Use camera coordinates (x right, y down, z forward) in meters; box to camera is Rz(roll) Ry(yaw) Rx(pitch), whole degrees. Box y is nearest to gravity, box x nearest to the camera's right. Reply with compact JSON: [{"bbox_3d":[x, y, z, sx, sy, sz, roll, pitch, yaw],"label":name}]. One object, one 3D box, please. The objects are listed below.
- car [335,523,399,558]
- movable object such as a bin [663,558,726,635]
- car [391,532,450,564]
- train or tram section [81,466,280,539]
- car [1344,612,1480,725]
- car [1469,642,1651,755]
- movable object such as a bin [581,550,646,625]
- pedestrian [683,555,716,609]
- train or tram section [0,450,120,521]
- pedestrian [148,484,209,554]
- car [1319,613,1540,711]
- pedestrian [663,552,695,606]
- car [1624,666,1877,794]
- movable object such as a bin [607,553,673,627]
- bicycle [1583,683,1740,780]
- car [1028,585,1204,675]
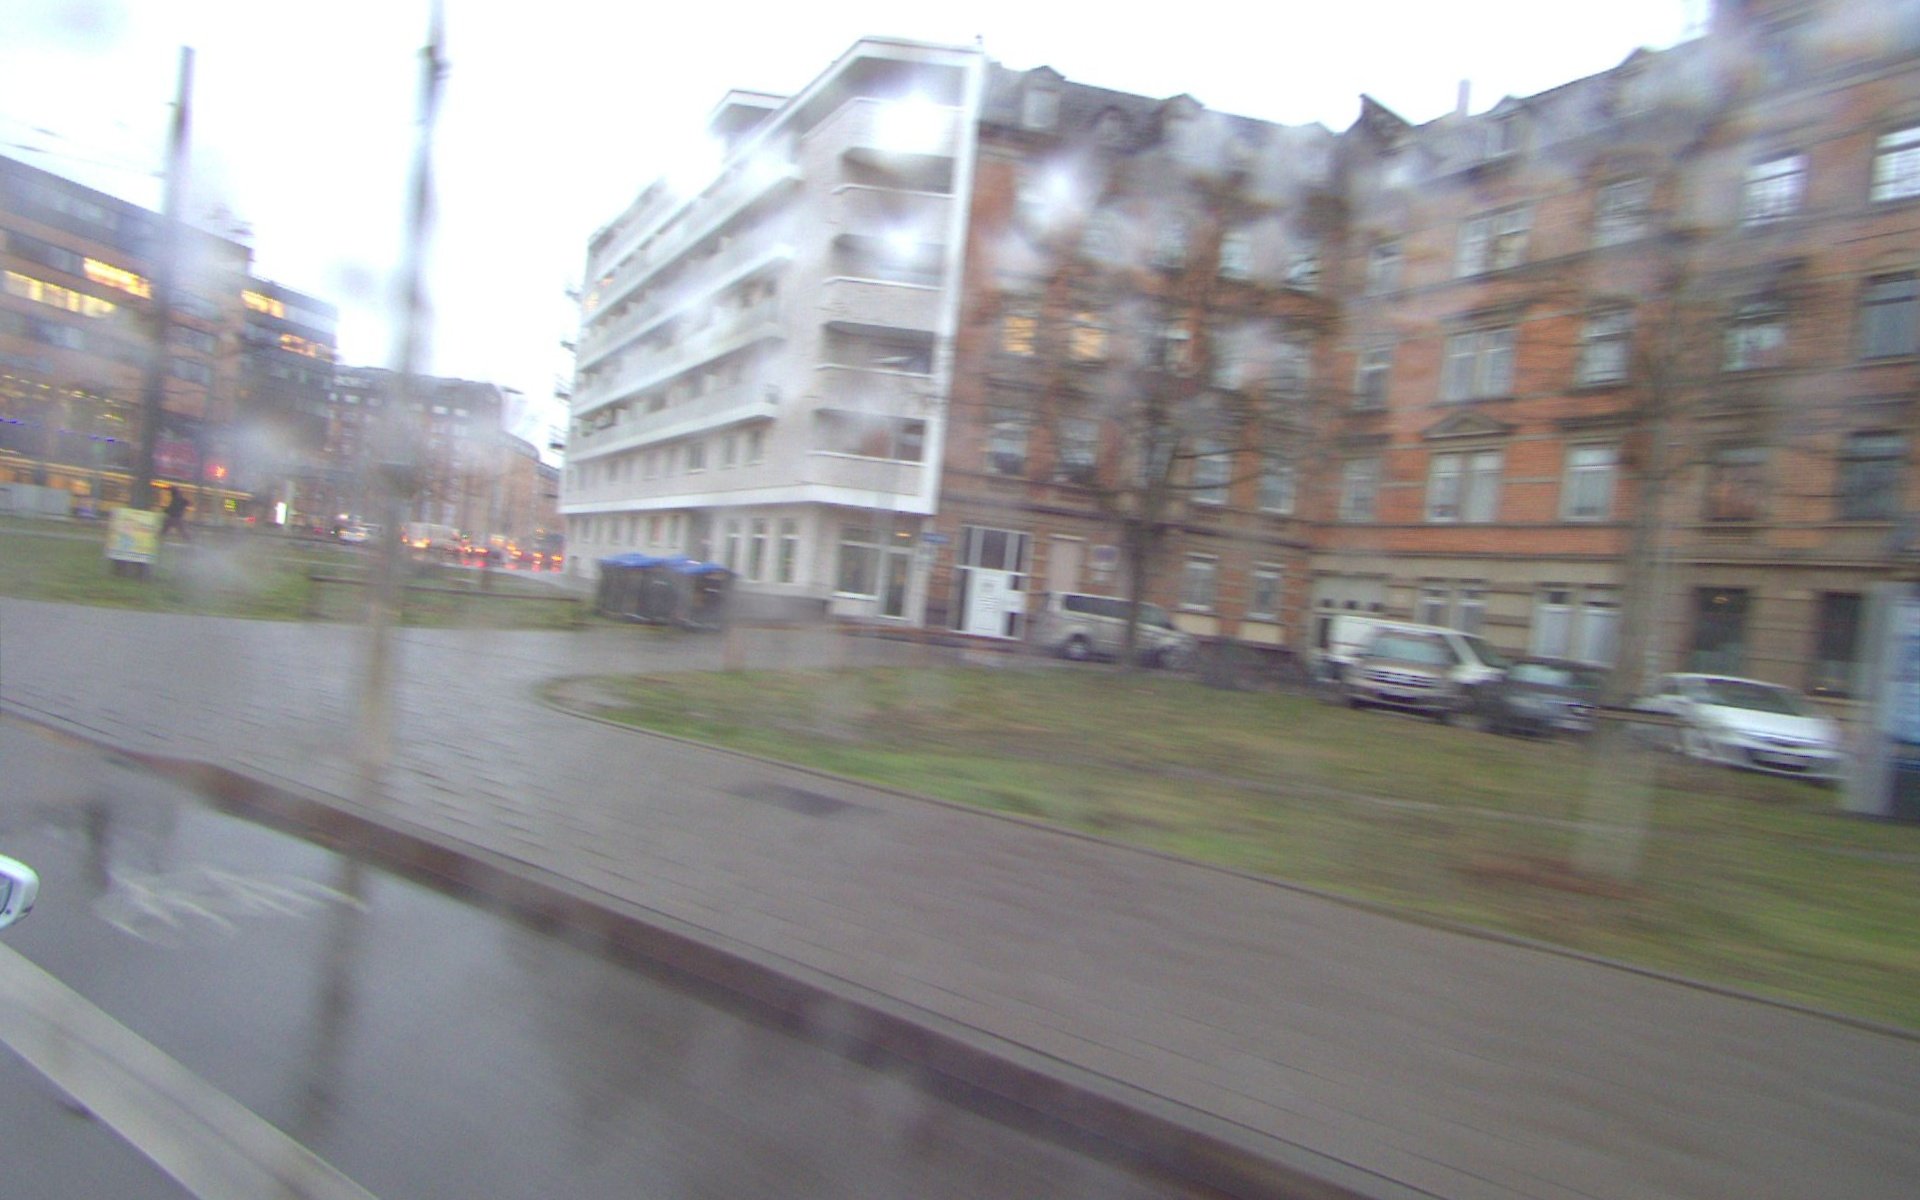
[{"bbox_3d":[-46.544,-4.627,79.020,1.962,2.036,4.006,7,-2,12],"label":"car"},{"bbox_3d":[-5.782,-0.071,21.882,1.024,1.507,1.036,8,-2,-22],"label":"movable object such as a bin"},{"bbox_3d":[-46.417,-4.448,86.682,1.962,2.036,4.955,8,-2,4],"label":"car"},{"bbox_3d":[-53.929,-6.589,70.381,2.292,3.300,13.005,7,0,7],"label":"train or tram section"},{"bbox_3d":[8.306,1.195,18.527,1.909,1.657,3.995,6,1,25],"label":"car"},{"bbox_3d":[9.516,1.518,16.269,1.646,1.370,3.746,8,-1,19],"label":"car"},{"bbox_3d":[-7.807,-0.300,22.658,1.019,1.514,1.318,6,2,-30],"label":"movable object such as a bin"},{"bbox_3d":[-9.017,-0.622,34.811,0.672,1.734,0.623,9,-2,-38],"label":"pedestrian"},{"bbox_3d":[-55.715,-6.986,55.877,2.292,3.300,16.666,7,0,7],"label":"train or tram section"},{"bbox_3d":[-24.106,-2.490,31.040,0.887,1.946,1.168,6,-2,45],"label":"pedestrian"},{"bbox_3d":[12.586,1.614,27.289,1.983,2.039,4.934,5,1,-38],"label":"car"},{"bbox_3d":[-9.589,-0.729,34.312,0.672,1.734,0.599,9,-2,-38],"label":"pedestrian"},{"bbox_3d":[11.365,1.780,14.798,1.667,1.353,3.858,7,0,20],"label":"car"},{"bbox_3d":[-6.881,-0.220,21.602,1.006,1.434,1.214,5,2,-31],"label":"movable object such as a bin"},{"bbox_3d":[8.940,1.654,12.902,0.506,0.949,1.647,6,1,-13],"label":"bicycle"},{"bbox_3d":[4.605,0.901,30.122,4.667,1.940,1.999,8,-2,-7],"label":"car"}]
